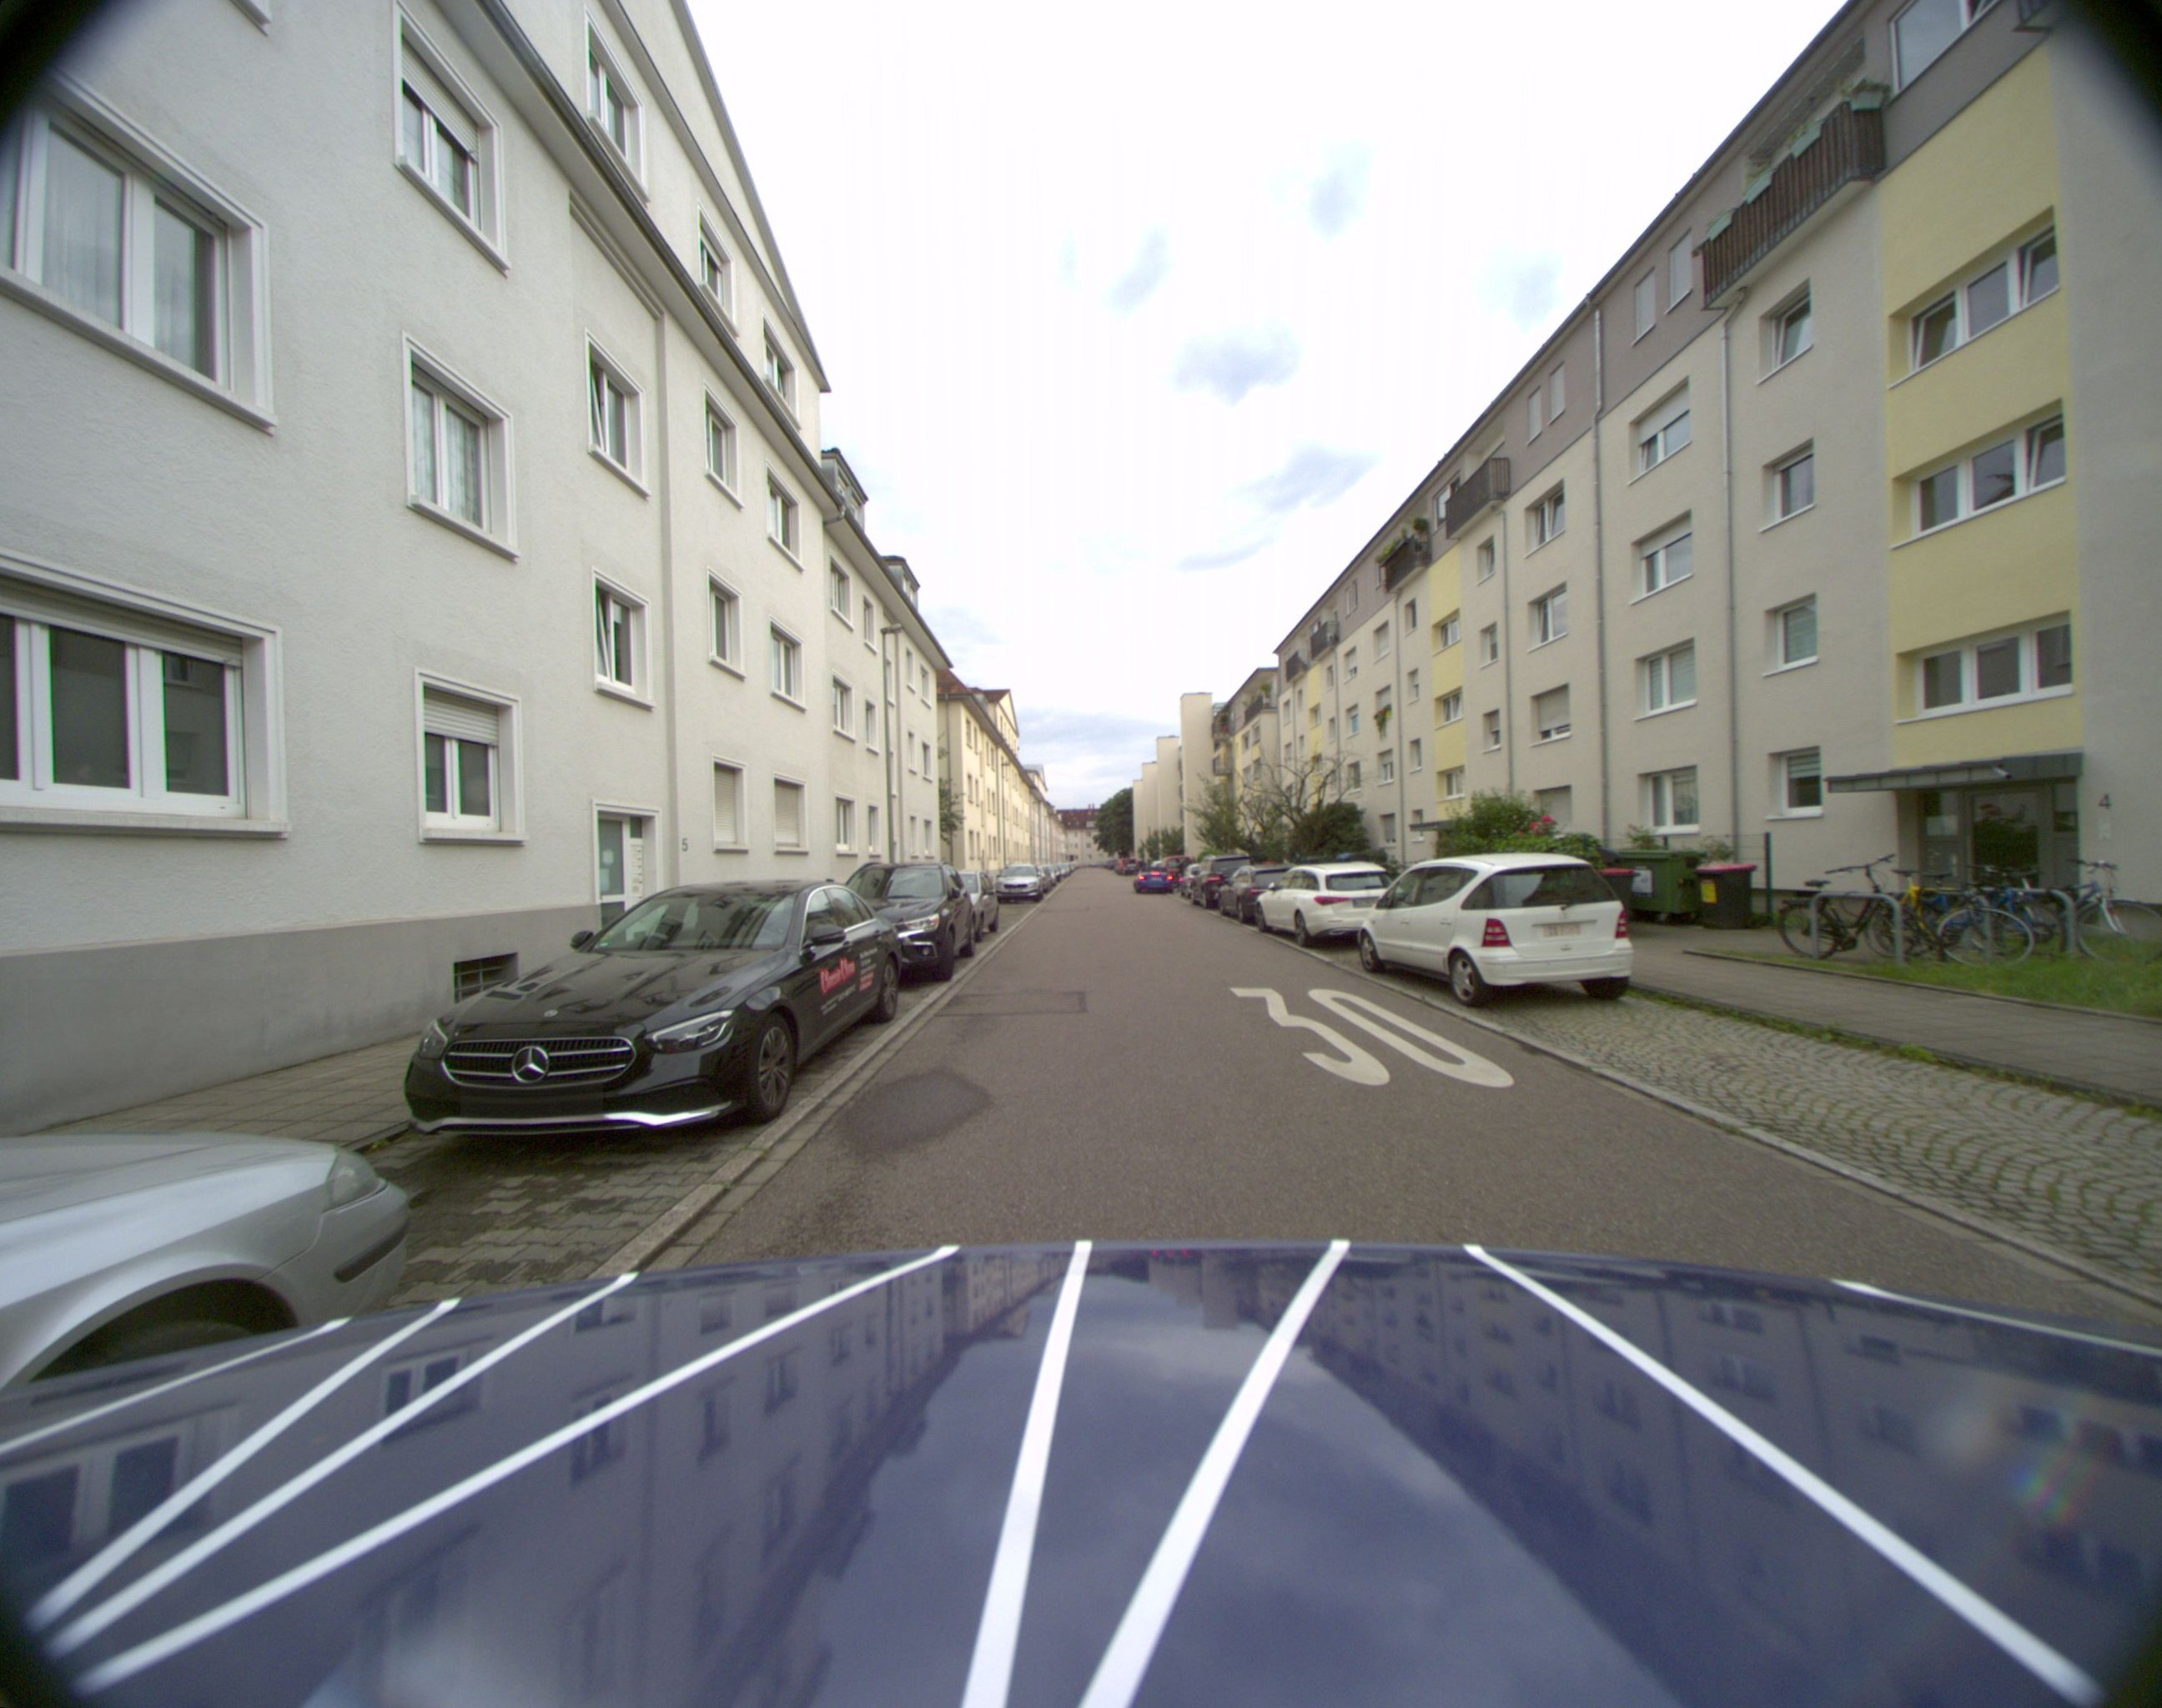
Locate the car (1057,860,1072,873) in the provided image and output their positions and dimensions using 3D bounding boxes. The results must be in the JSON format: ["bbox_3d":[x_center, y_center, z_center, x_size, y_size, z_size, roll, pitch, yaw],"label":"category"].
[{"bbox_3d":[-1.919,1.464,88.949,1.737,1.443,4.217,-1,-1,-1],"label":"car"}]

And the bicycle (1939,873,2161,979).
[{"bbox_3d":[10.603,0.740,8.391,0.421,1.018,1.559,-2,0,-3],"label":"bicycle"}]

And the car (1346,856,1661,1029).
[{"bbox_3d":[4.743,0.876,9.224,1.689,1.629,3.727,-2,0,-1],"label":"car"}]

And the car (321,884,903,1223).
[{"bbox_3d":[-2.741,1.038,5.798,1.786,1.454,4.323,-1,-1,-1],"label":"car"}]

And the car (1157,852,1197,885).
[{"bbox_3d":[5.465,0.826,43.537,1.707,1.795,3.542,-2,-1,-2],"label":"car"}]

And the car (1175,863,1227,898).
[{"bbox_3d":[5.139,1.125,32.984,1.575,1.388,3.542,-2,-1,-2],"label":"car"}]

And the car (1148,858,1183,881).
[{"bbox_3d":[5.498,1.024,49.726,1.707,1.435,3.542,-2,-1,-2],"label":"car"}]

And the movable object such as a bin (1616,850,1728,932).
[{"bbox_3d":[10.580,0.630,13.658,1.059,1.366,1.189,-2,1,-4],"label":"movable object such as a bin"}]

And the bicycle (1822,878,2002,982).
[{"bbox_3d":[9.221,0.796,8.513,0.357,1.018,1.497,-2,0,0],"label":"bicycle"}]

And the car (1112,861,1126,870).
[{"bbox_3d":[6.432,1.933,128.463,1.745,1.534,3.637,-2,-1,-5],"label":"car"}]

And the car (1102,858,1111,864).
[{"bbox_3d":[5.945,1.638,178.114,1.745,1.534,3.637,-2,-1,-5],"label":"car"}]

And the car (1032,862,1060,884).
[{"bbox_3d":[-2.351,1.284,52.271,1.737,1.402,4.217,-1,-1,-1],"label":"car"}]

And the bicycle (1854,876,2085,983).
[{"bbox_3d":[9.717,0.776,8.424,0.479,1.018,1.755,-2,0,0],"label":"bicycle"}]

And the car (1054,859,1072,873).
[{"bbox_3d":[-1.872,1.222,79.160,1.737,1.443,4.217,-1,-1,-1],"label":"car"}]

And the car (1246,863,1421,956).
[{"bbox_3d":[4.708,0.959,14.963,1.723,1.500,4.687,-2,-1,-2],"label":"car"}]

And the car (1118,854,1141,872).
[{"bbox_3d":[5.694,1.063,89.934,2.188,2.019,4.422,-2,-1,-2],"label":"car"}]

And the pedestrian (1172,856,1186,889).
[{"bbox_3d":[4.989,0.919,38.642,0.603,1.657,0.622,-2,0,-2],"label":"pedestrian"}]

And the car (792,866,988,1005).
[{"bbox_3d":[-2.526,1.002,11.134,1.853,1.589,4.160,-1,-1,-1],"label":"car"}]

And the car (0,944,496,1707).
[{"bbox_3d":[-2.713,1.007,0.185,1.737,1.454,4.430,-1,-1,-1],"label":"car"}]

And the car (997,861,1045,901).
[{"bbox_3d":[-2.467,1.085,32.112,1.737,1.538,3.677,-1,0,-1],"label":"car"}]

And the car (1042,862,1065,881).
[{"bbox_3d":[-2.125,1.344,59.980,1.737,1.363,4.217,-1,-1,-1],"label":"car"}]

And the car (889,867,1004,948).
[{"bbox_3d":[-2.745,1.053,16.333,1.737,1.478,3.757,-1,-1,1],"label":"car"}]

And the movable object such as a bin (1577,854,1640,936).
[{"bbox_3d":[9.121,0.695,13.158,0.659,1.360,0.587,-2,1,-3],"label":"movable object such as a bin"}]

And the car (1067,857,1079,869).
[{"bbox_3d":[-1.272,1.386,117.981,1.737,1.670,3.592,-1,0,-1],"label":"car"}]

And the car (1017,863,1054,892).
[{"bbox_3d":[-2.395,1.222,41.027,1.737,1.418,4.218,-1,-1,0],"label":"car"}]

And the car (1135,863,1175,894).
[{"bbox_3d":[3.656,1.199,38.209,1.679,1.307,3.908,-2,1,1],"label":"car"}]

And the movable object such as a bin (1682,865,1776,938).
[{"bbox_3d":[10.711,0.769,12.591,0.871,1.102,0.787,-2,1,-3],"label":"movable object such as a bin"}]

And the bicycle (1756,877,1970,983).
[{"bbox_3d":[8.743,0.793,8.621,0.489,1.018,1.878,-2,0,1],"label":"bicycle"}]

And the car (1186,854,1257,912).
[{"bbox_3d":[4.742,0.948,26.176,1.575,1.769,4.452,-2,-1,0],"label":"car"}]

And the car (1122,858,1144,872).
[{"bbox_3d":[5.689,1.258,83.697,2.013,1.435,4.197,-2,-1,-2],"label":"car"}]

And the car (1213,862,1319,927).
[{"bbox_3d":[4.743,0.972,20.145,1.729,1.445,4.483,-2,0,0],"label":"car"}]
